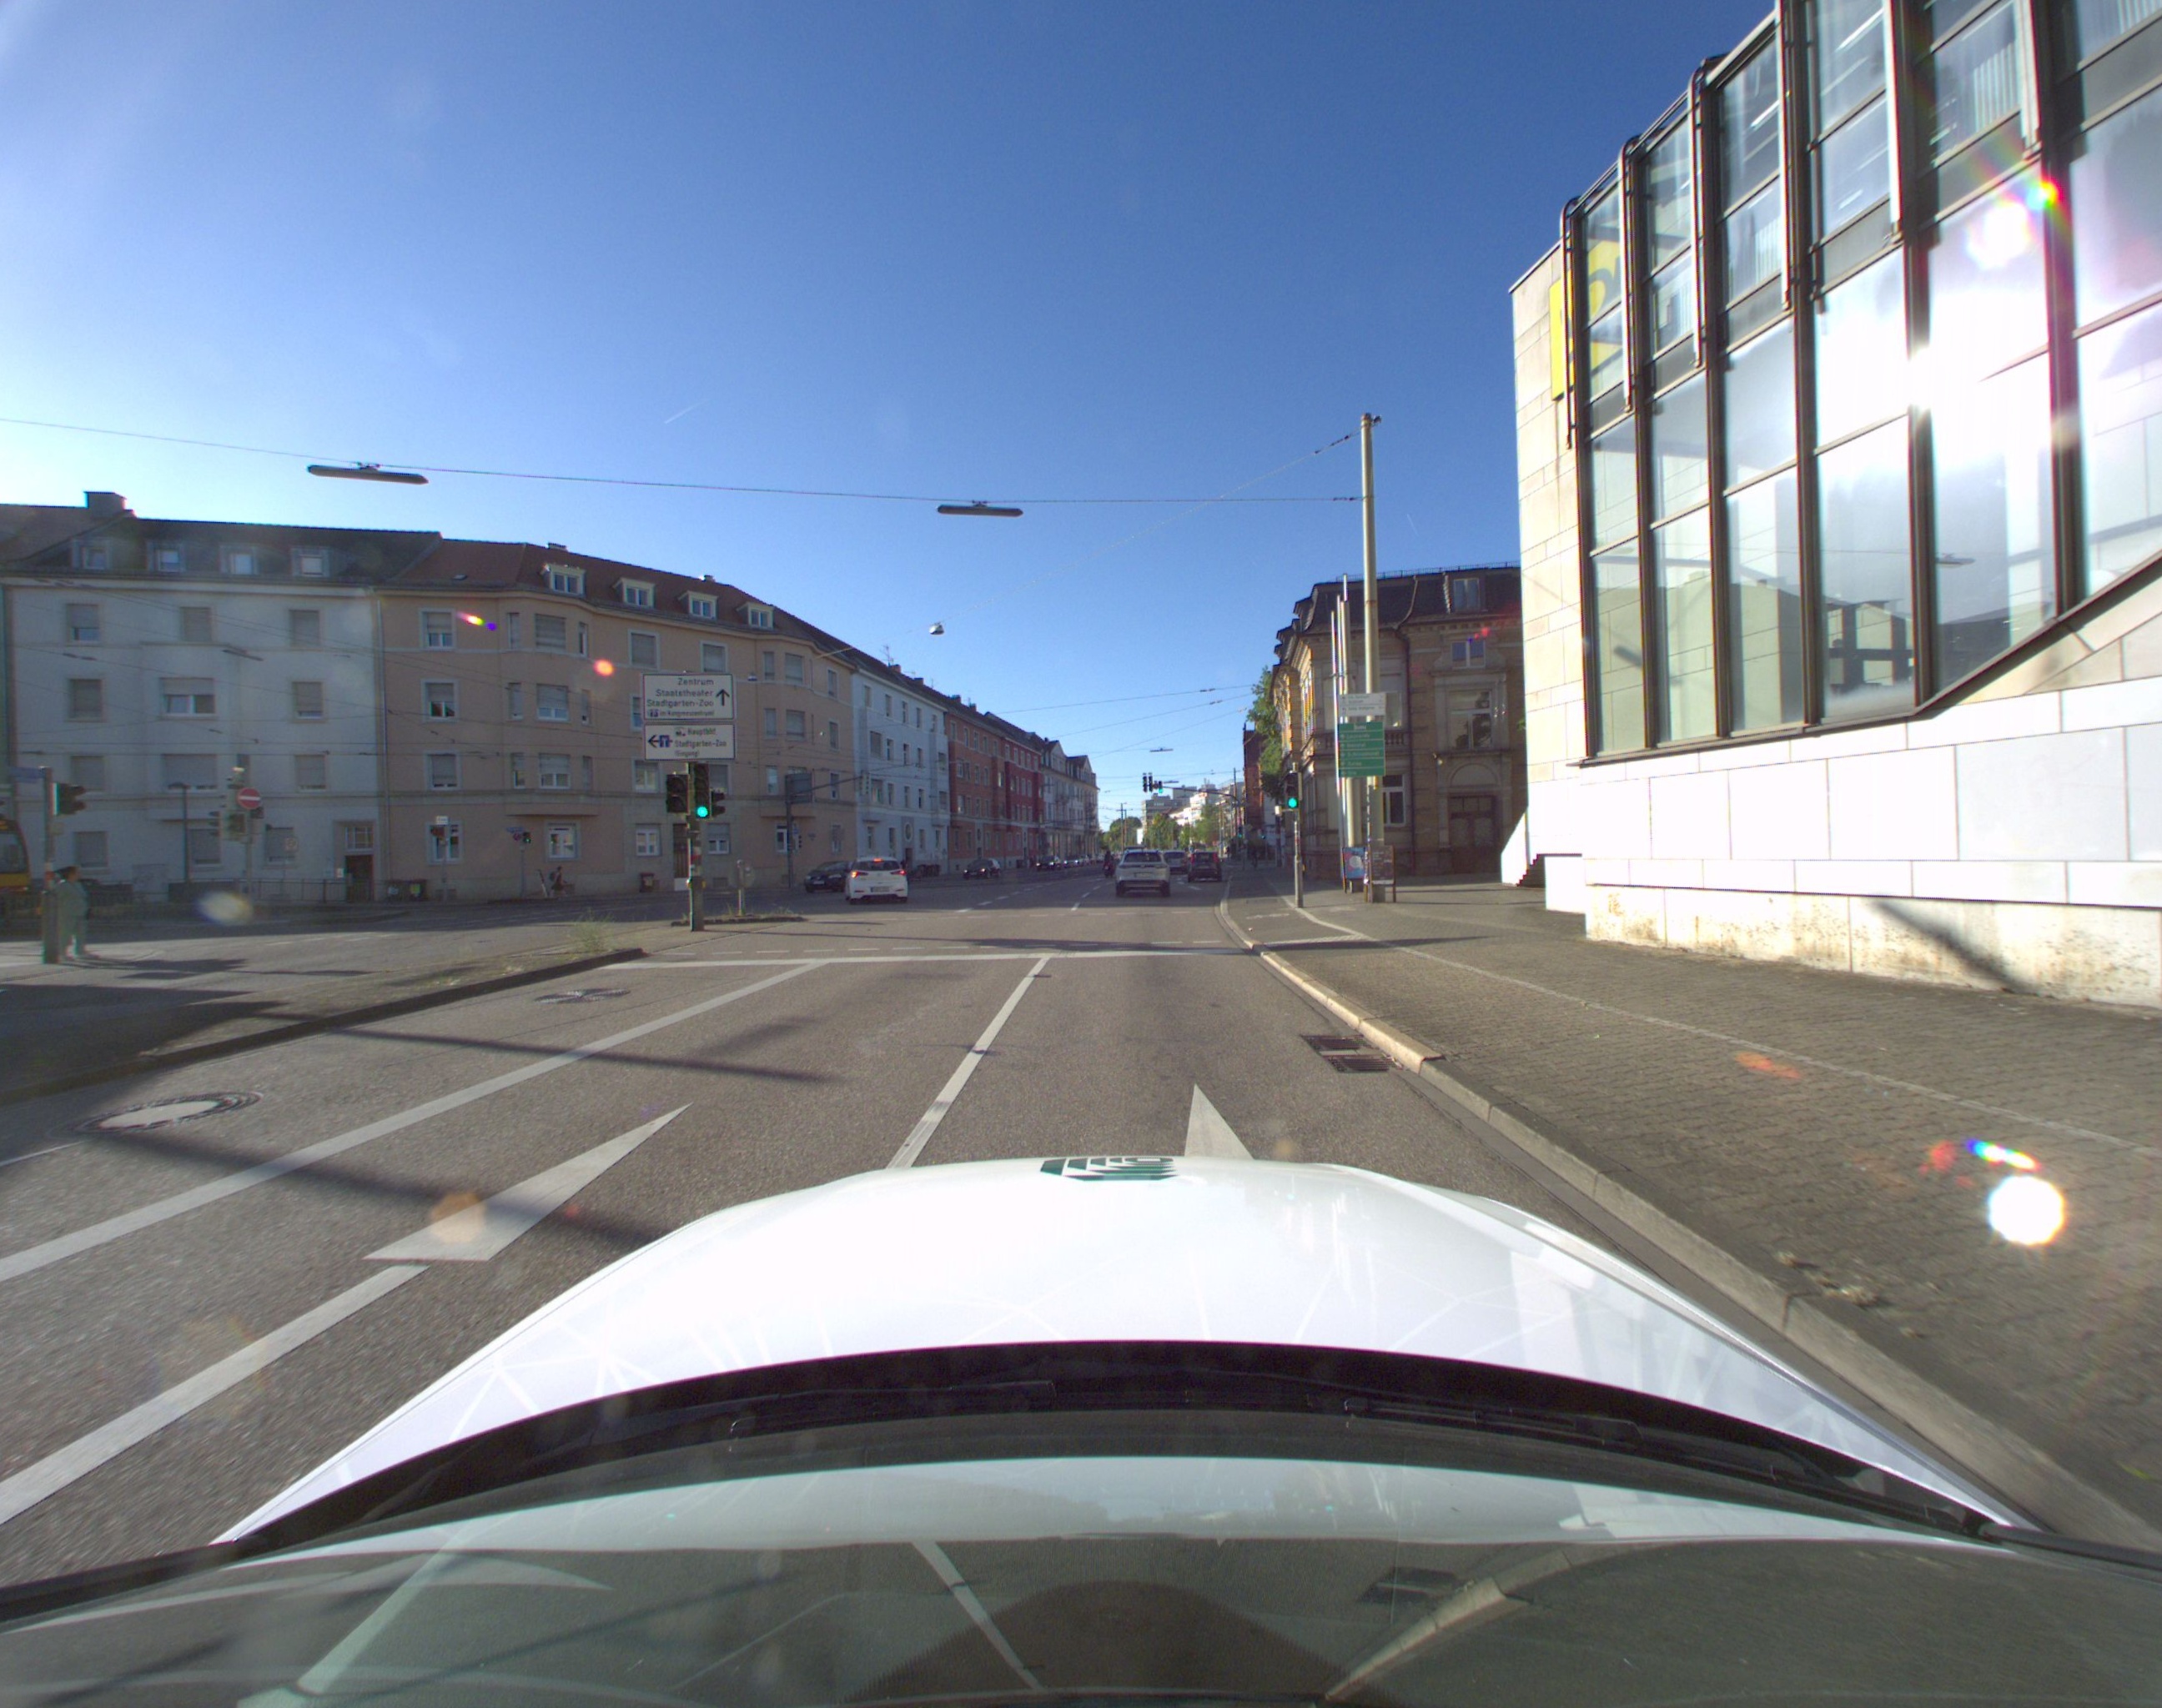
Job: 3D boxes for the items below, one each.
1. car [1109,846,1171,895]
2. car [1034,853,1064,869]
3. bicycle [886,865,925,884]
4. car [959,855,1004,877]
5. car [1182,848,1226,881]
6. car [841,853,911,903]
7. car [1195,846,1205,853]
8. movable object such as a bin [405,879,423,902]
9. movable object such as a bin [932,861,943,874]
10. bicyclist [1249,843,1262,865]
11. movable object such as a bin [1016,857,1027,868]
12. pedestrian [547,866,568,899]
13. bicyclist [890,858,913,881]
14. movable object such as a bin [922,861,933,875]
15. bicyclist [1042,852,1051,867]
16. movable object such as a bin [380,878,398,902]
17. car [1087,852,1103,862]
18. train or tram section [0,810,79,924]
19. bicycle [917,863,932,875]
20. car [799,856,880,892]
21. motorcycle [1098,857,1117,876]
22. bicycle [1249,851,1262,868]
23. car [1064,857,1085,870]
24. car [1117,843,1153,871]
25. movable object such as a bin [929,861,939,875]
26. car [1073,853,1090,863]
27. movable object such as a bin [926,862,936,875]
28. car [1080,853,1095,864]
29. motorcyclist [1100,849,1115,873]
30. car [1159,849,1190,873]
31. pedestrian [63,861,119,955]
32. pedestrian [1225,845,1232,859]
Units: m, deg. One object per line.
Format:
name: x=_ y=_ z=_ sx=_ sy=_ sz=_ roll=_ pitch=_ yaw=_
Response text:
car: x=2.038 y=0.512 z=27.812 sx=1.938 sy=1.528 sz=4.095 roll=-1 pitch=0 yaw=5
car: x=-3.061 y=0.703 z=79.421 sx=1.910 sy=1.455 sz=4.511 roll=-2 pitch=0 yaw=10
bicycle: x=-10.965 y=1.246 z=51.041 sx=0.927 sy=1.056 sz=3.368 roll=-1 pitch=0 yaw=15
car: x=-7.076 y=0.836 z=58.317 sx=1.982 sy=1.392 sz=4.573 roll=-2 pitch=0 yaw=9
car: x=6.166 y=0.493 z=40.547 sx=1.719 sy=1.500 sz=4.015 roll=-1 pitch=0 yaw=14
car: x=-6.607 y=0.709 z=25.961 sx=1.792 sy=1.394 sz=4.078 roll=-2 pitch=0 yaw=-19
car: x=27.033 y=-1.002 z=184.874 sx=1.981 sy=1.662 sz=4.509 roll=-1 pitch=0 yaw=9
movable object such as a bin: x=-30.956 y=1.709 z=37.782 sx=0.449 sy=1.032 sz=0.481 roll=-1 pitch=0 yaw=-11
movable object such as a bin: x=-12.313 y=1.188 z=69.899 sx=0.698 sy=1.106 sz=0.584 roll=-1 pitch=0 yaw=10
bicyclist: x=12.122 y=-0.022 z=56.722 sx=0.828 sy=1.525 sz=0.997 roll=-1 pitch=0 yaw=10
movable object such as a bin: x=-7.060 y=1.044 z=96.619 sx=0.864 sy=1.249 sz=1.239 roll=-2 pitch=0 yaw=17
pedestrian: x=-25.276 y=1.363 z=39.314 sx=0.724 sy=1.563 sz=0.669 roll=-1 pitch=0 yaw=-39
bicyclist: x=-11.132 y=0.953 z=50.478 sx=0.927 sy=1.382 sz=1.152 roll=-1 pitch=0 yaw=15
movable object such as a bin: x=-12.769 y=1.163 z=67.885 sx=0.698 sy=1.106 sz=0.650 roll=-1 pitch=0 yaw=10
bicyclist: x=-3.876 y=0.638 z=90.645 sx=0.741 sy=1.643 sz=1.129 roll=-2 pitch=0 yaw=11
movable object such as a bin: x=-31.897 y=1.649 z=37.552 sx=0.449 sy=1.065 sz=0.481 roll=-1 pitch=0 yaw=-11
car: x=2.268 y=0.460 z=132.794 sx=1.823 sy=1.552 sz=4.287 roll=-2 pitch=0 yaw=11
train or tram section: x=-37.488 y=0.512 z=23.270 sx=11.784 sy=3.321 sz=3.156 roll=-1 pitch=0 yaw=-11
bicycle: x=-12.815 y=1.226 z=66.736 sx=0.601 sy=0.980 sz=1.882 roll=-1 pitch=0 yaw=11
car: x=-10.552 y=0.838 z=35.955 sx=1.814 sy=1.425 sz=4.336 roll=-1 pitch=0 yaw=7
motorcycle: x=1.655 y=0.754 z=50.038 sx=0.772 sy=1.082 sz=2.288 roll=-2 pitch=0 yaw=11
bicycle: x=12.135 y=0.379 z=56.733 sx=0.766 sy=1.086 sz=1.876 roll=-1 pitch=0 yaw=9
car: x=-0.749 y=1.032 z=91.269 sx=1.715 sy=1.375 sz=3.544 roll=-2 pitch=0 yaw=10
car: x=4.268 y=0.204 z=63.184 sx=2.158 sy=2.009 sz=4.822 roll=-2 pitch=0 yaw=10
movable object such as a bin: x=-12.497 y=1.177 z=69.223 sx=0.698 sy=1.106 sz=0.584 roll=-1 pitch=0 yaw=10
car: x=0.128 y=0.569 z=121.229 sx=1.708 sy=1.452 sz=4.012 roll=-2 pitch=0 yaw=11
movable object such as a bin: x=-12.615 y=1.232 z=68.526 sx=0.697 sy=1.106 sz=0.584 roll=-1 pitch=0 yaw=11
car: x=1.044 y=0.720 z=126.111 sx=1.708 sy=1.552 sz=3.868 roll=-2 pitch=0 yaw=11
motorcyclist: x=1.613 y=0.415 z=49.862 sx=0.772 sy=1.423 sz=0.894 roll=-2 pitch=0 yaw=10
car: x=6.517 y=0.455 z=56.265 sx=1.803 sy=1.582 sz=4.012 roll=-2 pitch=0 yaw=10
pedestrian: x=-17.818 y=0.952 z=14.672 sx=0.491 sy=1.640 sz=0.618 roll=-1 pitch=0 yaw=-37
pedestrian: x=19.206 y=-0.239 z=105.984 sx=0.870 sy=1.824 sz=1.188 roll=-1 pitch=0 yaw=12
